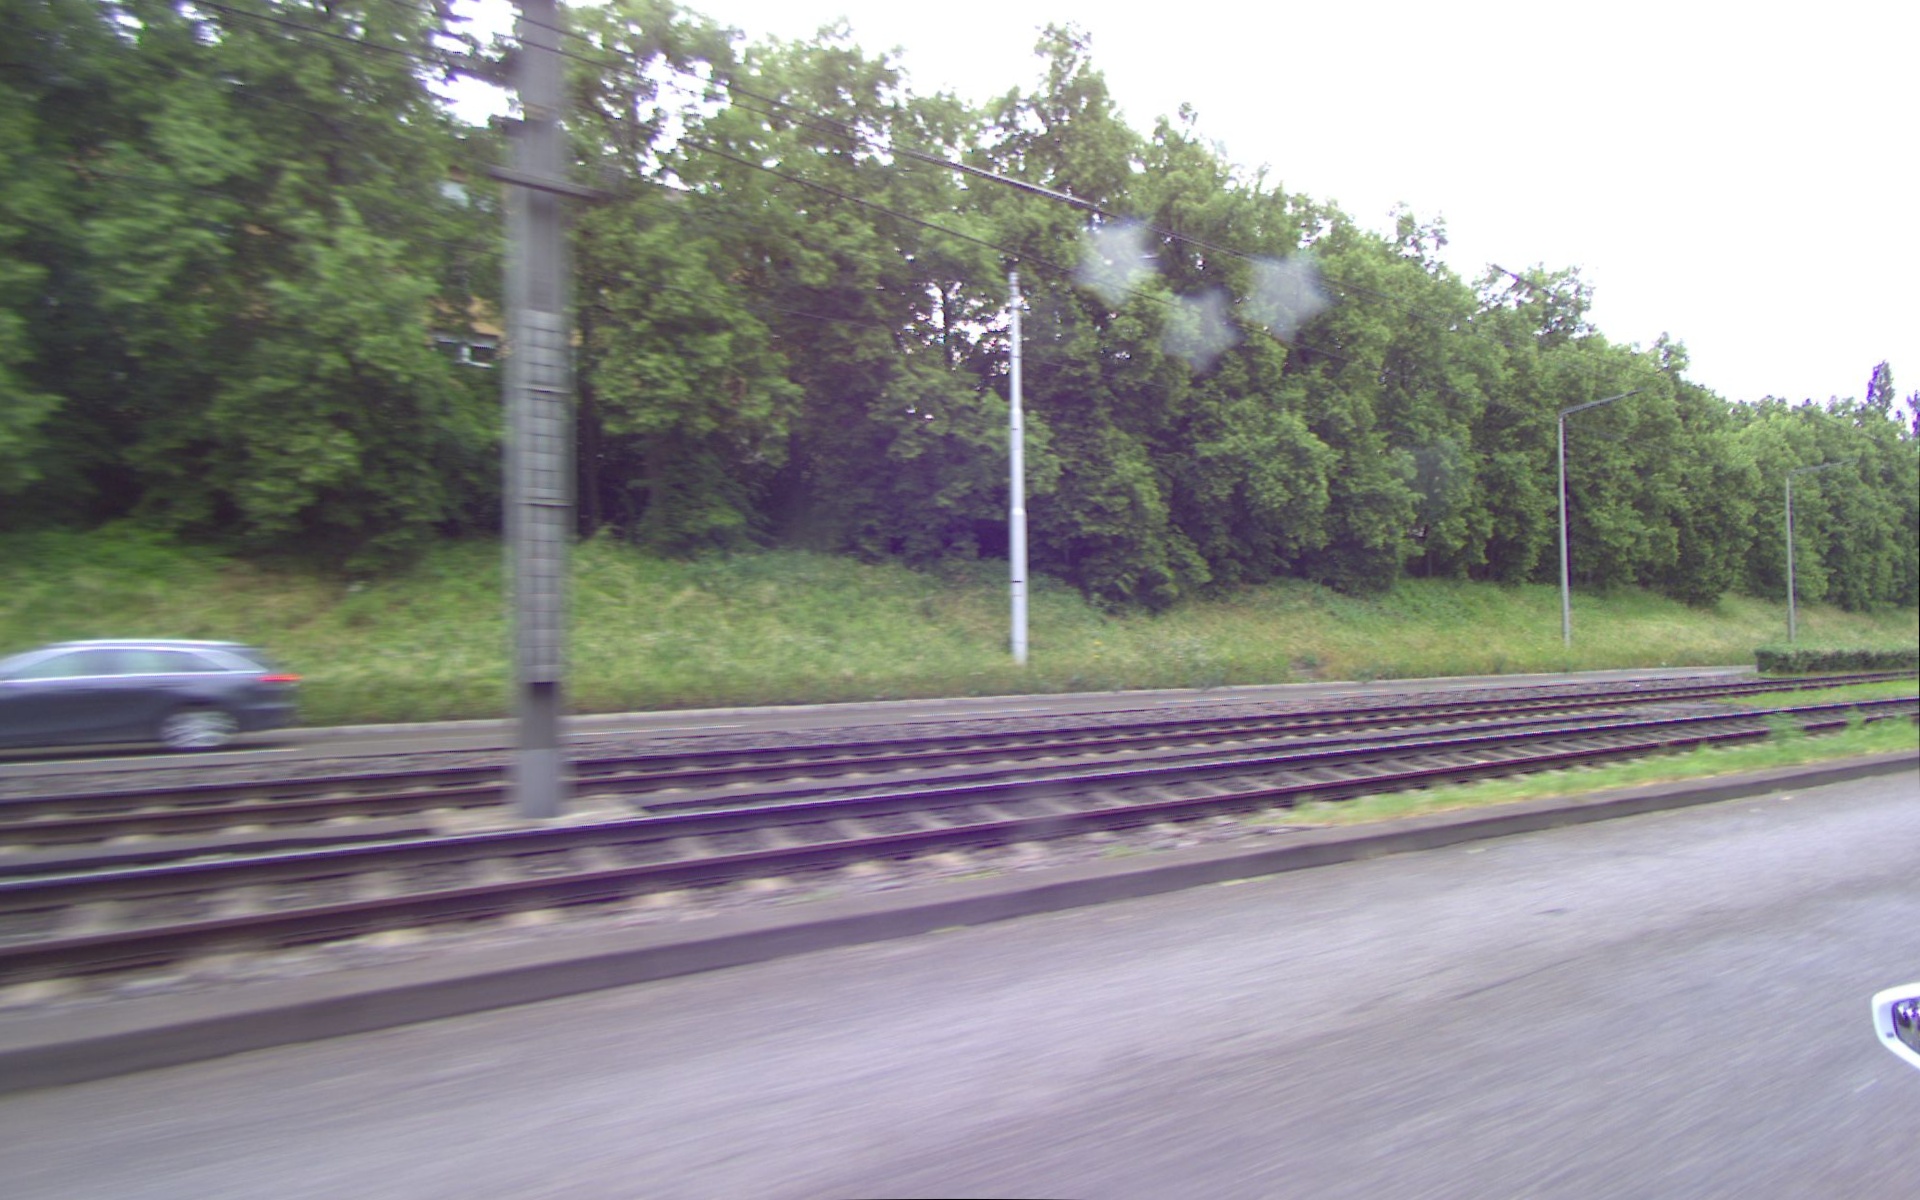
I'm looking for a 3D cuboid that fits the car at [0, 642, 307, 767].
[{"bbox_3d":[-11.176,1.308,13.116,4.386,1.450,1.981,1,-4,-35],"label":"car"}]
